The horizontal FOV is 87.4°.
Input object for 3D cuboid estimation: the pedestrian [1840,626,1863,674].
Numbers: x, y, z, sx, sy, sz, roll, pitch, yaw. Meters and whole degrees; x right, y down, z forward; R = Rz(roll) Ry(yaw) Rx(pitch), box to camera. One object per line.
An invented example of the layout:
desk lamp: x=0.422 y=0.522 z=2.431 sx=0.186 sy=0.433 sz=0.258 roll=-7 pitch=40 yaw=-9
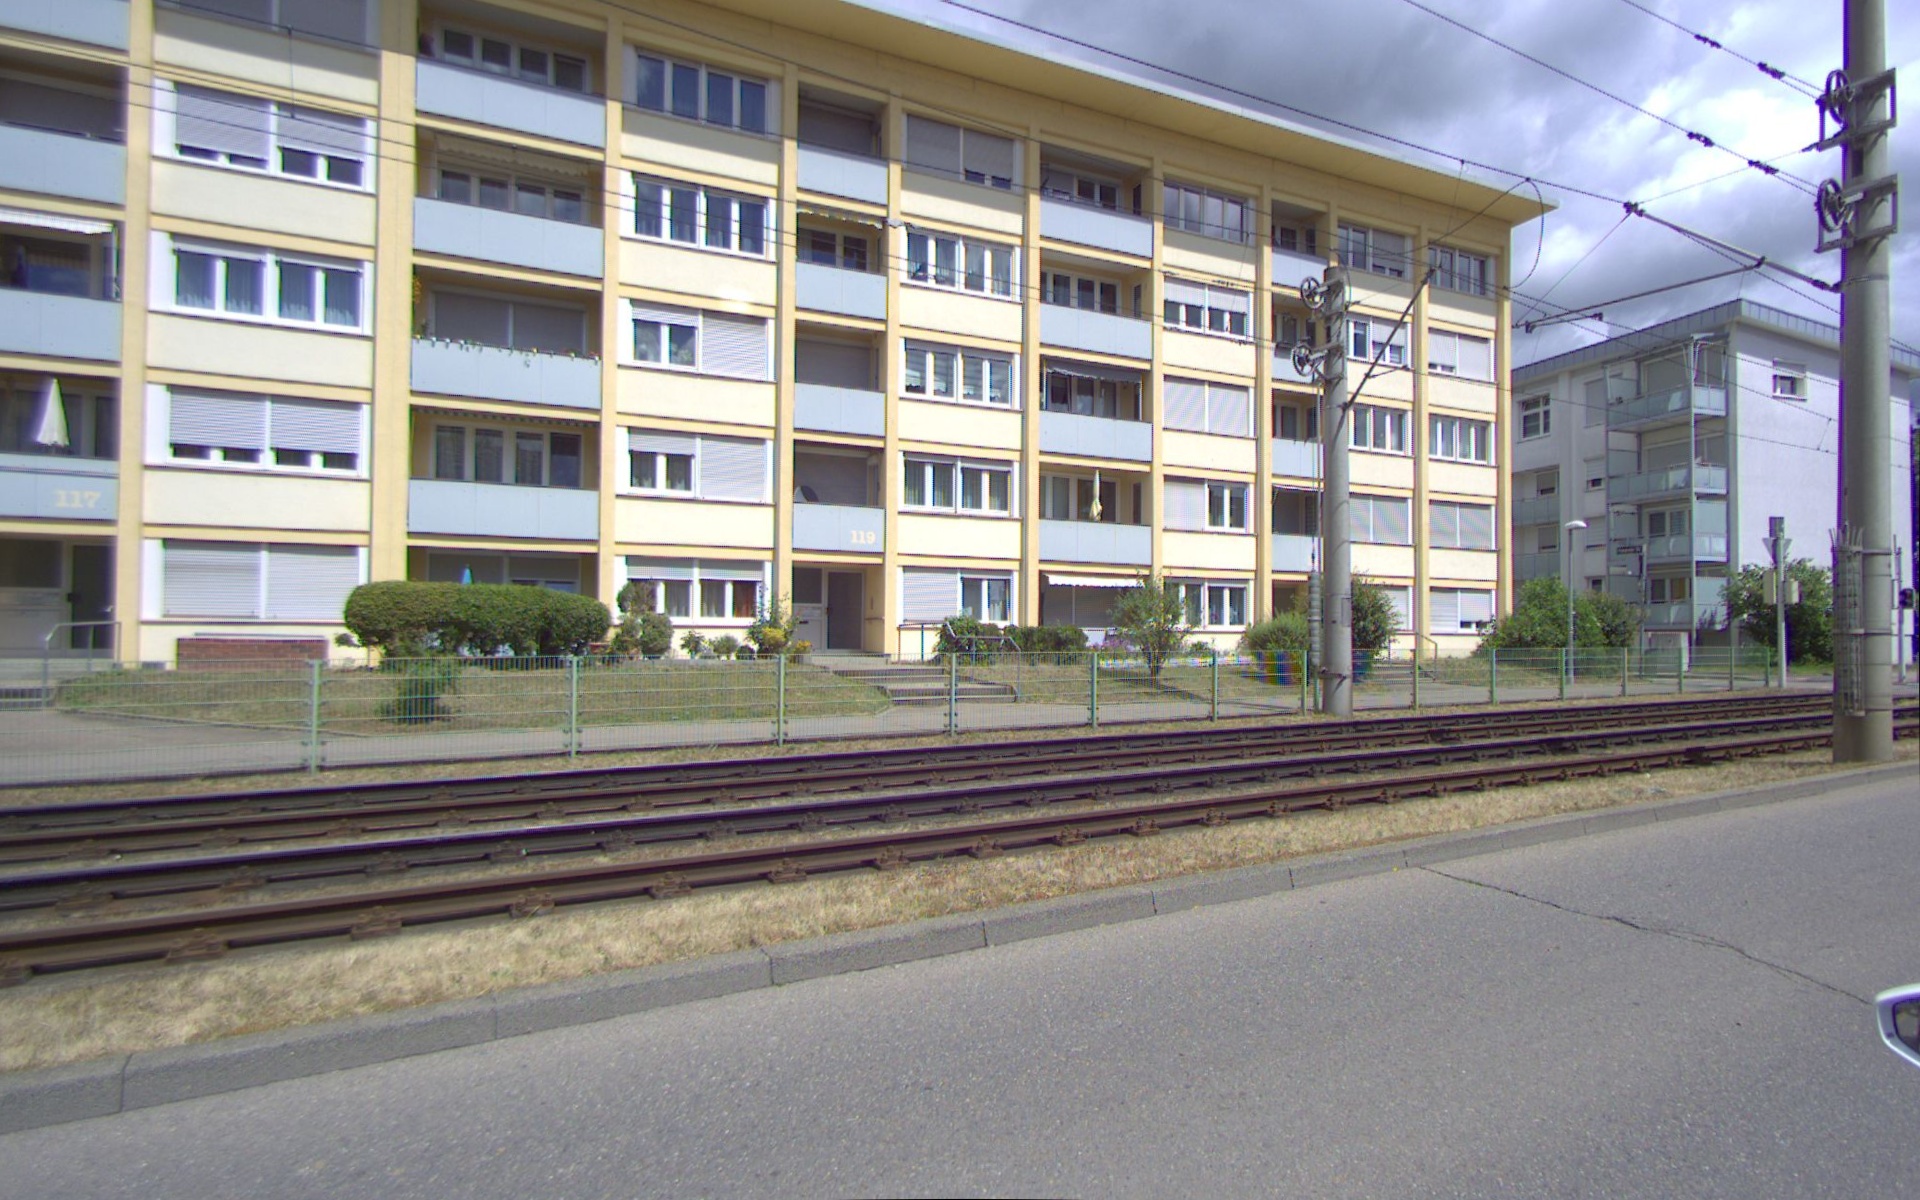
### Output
pedestrian: x=30.030 y=1.669 z=33.832 sx=0.468 sy=1.601 sz=0.436 roll=1 pitch=-1 yaw=-25

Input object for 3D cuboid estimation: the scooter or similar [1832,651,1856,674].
scooter or similar: x=29.588 y=2.085 z=33.629 sx=0.468 sy=0.757 sz=0.436 roll=1 pitch=-1 yaw=-25

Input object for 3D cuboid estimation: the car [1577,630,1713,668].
car: x=26.343 y=1.850 z=38.785 sx=1.873 sy=1.363 sz=3.980 roll=1 pitch=-2 yaw=-21
